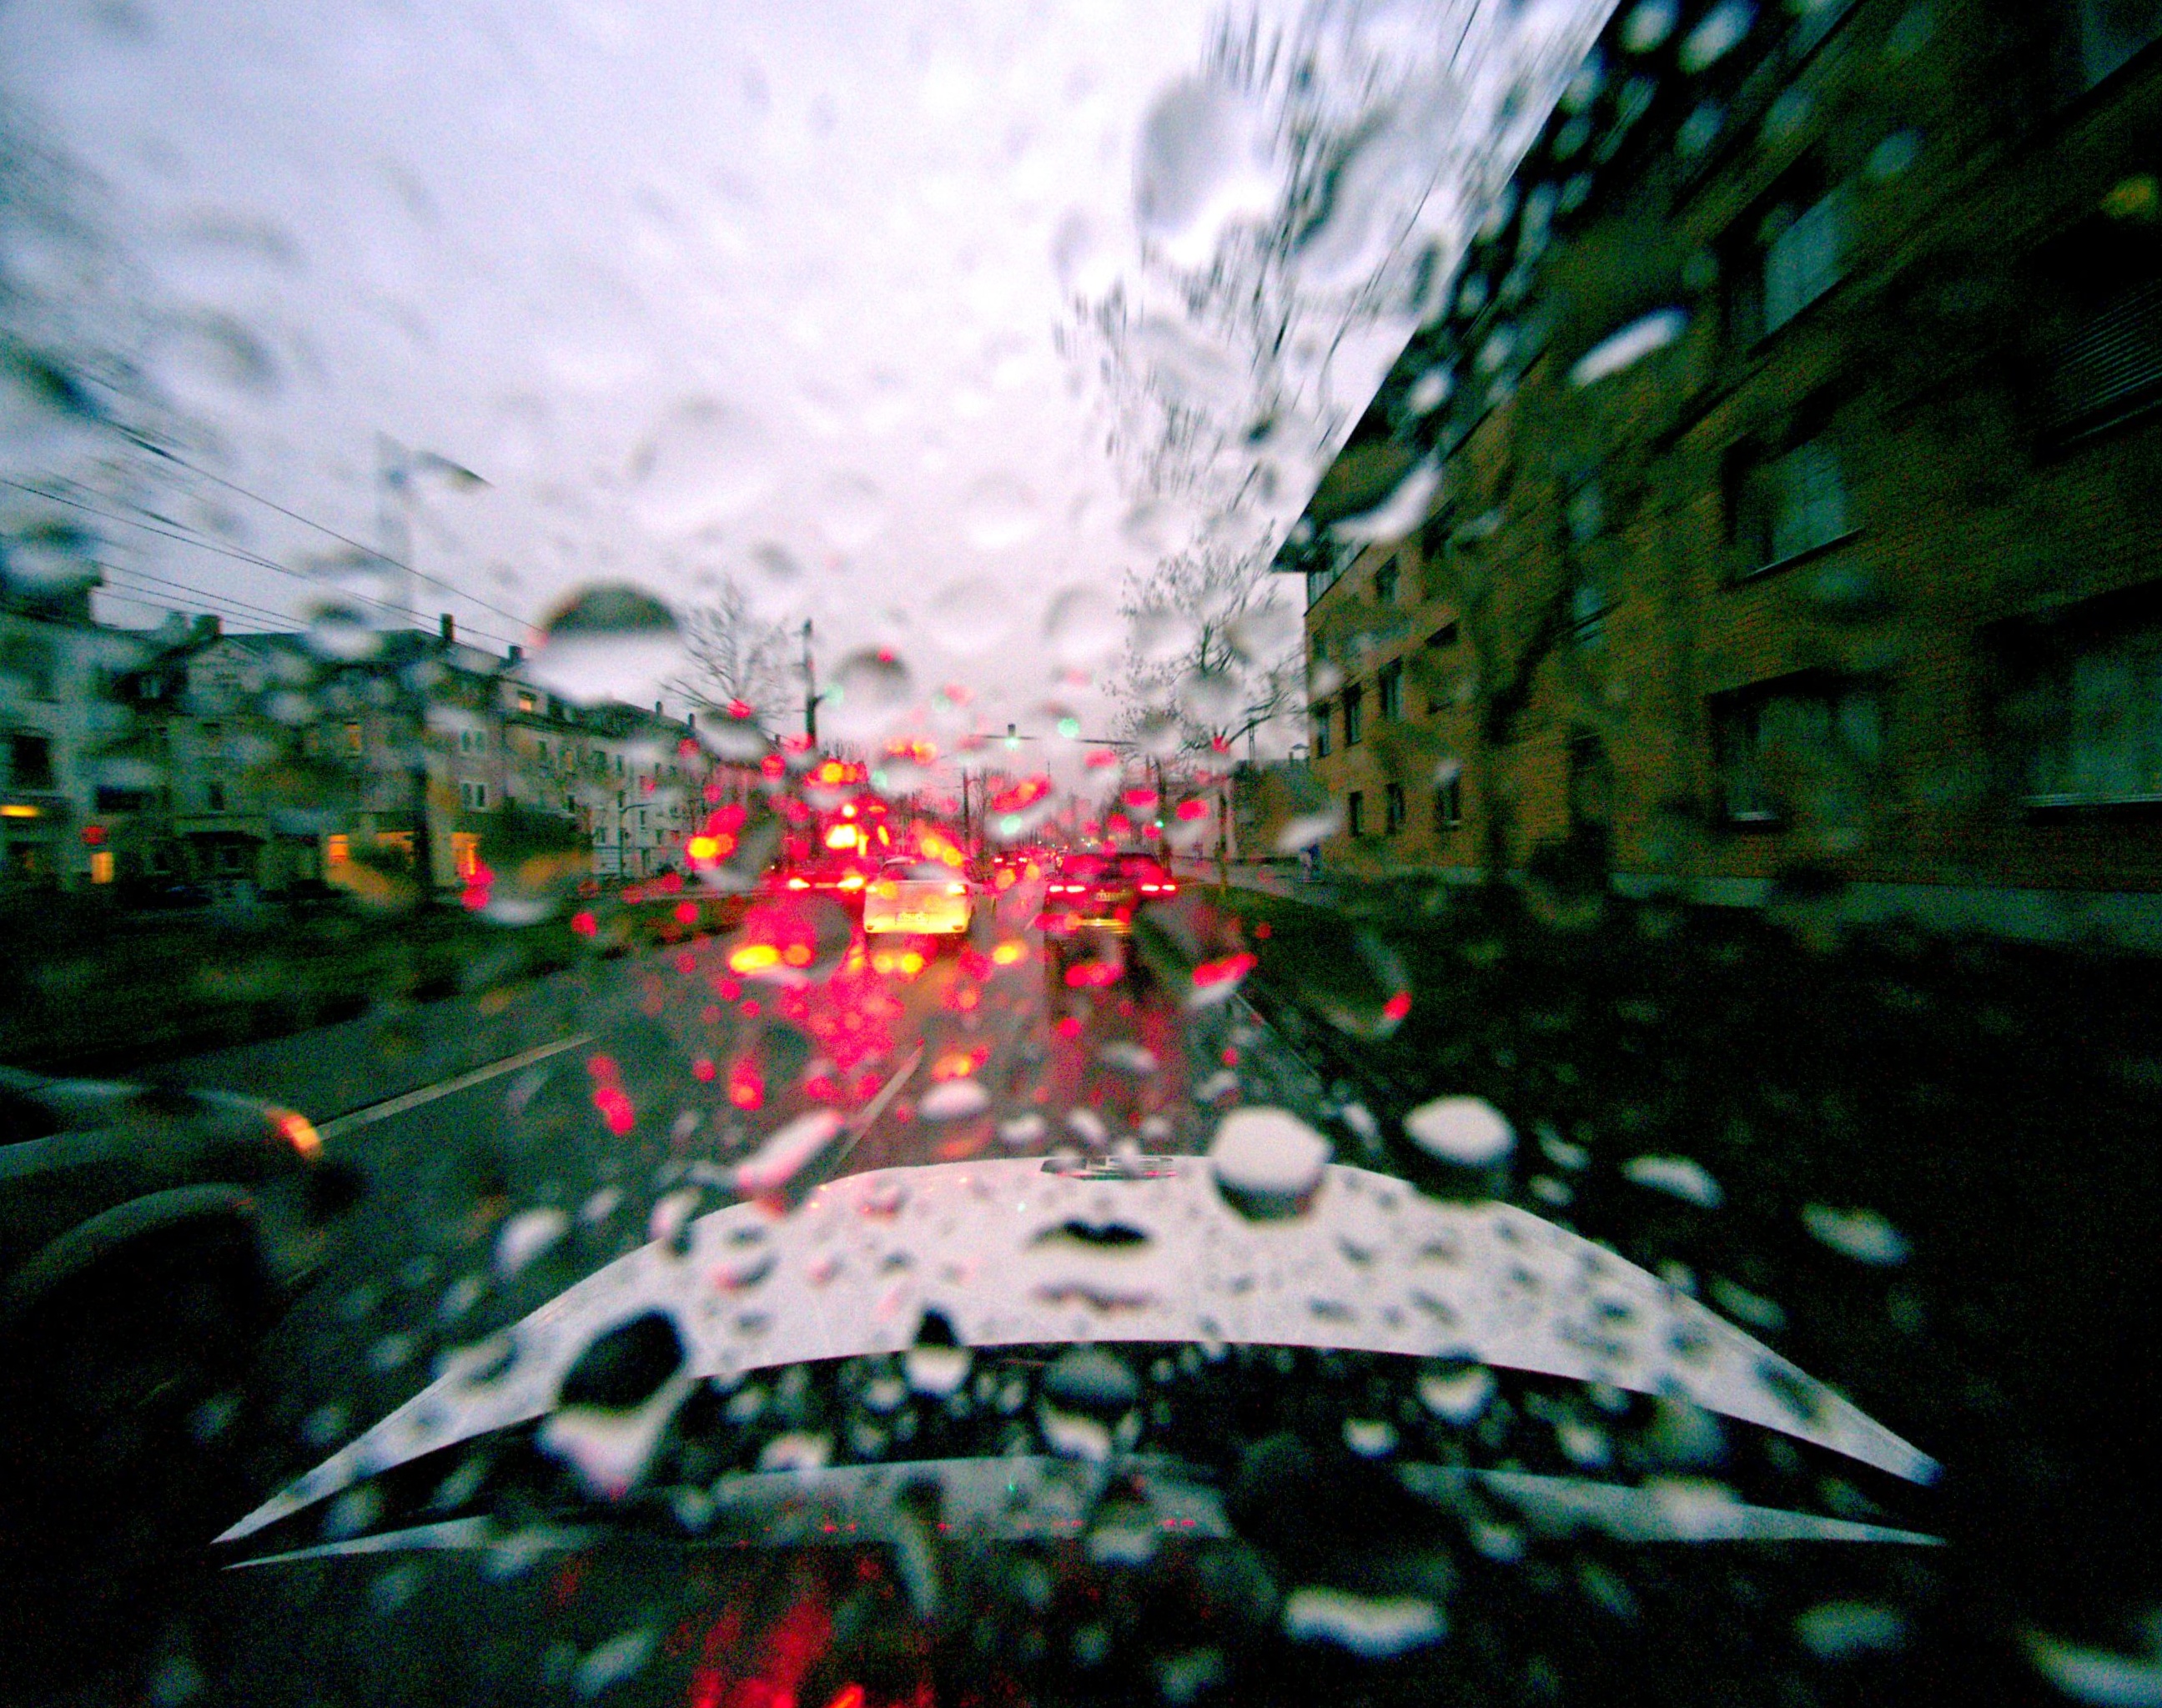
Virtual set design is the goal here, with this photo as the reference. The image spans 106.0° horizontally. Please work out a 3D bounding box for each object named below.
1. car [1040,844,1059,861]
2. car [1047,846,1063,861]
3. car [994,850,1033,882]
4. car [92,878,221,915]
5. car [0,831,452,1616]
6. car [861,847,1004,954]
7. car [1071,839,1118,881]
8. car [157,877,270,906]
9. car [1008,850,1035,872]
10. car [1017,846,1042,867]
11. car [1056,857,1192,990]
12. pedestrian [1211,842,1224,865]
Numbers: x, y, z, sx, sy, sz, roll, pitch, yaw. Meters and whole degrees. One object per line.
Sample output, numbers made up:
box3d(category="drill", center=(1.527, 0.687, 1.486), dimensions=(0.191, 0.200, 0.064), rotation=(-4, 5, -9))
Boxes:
box3d(category="car", center=(-3.741, -0.161, 96.707), dimensions=(1.986, 2.014, 4.002), rotation=(0, 0, 2))
box3d(category="car", center=(-3.705, -0.034, 115.799), dimensions=(1.986, 2.014, 4.002), rotation=(0, 0, 2))
box3d(category="car", center=(-3.587, 0.624, 44.031), dimensions=(1.666, 1.600, 4.054), rotation=(-1, 0, 1))
box3d(category="car", center=(-43.794, 2.013, 38.639), dimensions=(3.974, 1.486, 1.794), rotation=(-2, 0, 0))
box3d(category="car", center=(-3.140, 0.775, 0.795), dimensions=(1.802, 1.600, 4.055), rotation=(-1, 0, 1))
box3d(category="car", center=(-2.454, 0.704, 14.425), dimensions=(1.666, 1.600, 4.054), rotation=(-1, 0, 1))
box3d(category="car", center=(0.648, 0.240, 37.478), dimensions=(1.986, 1.743, 4.001), rotation=(-2, 0, 1))
box3d(category="car", center=(-48.976, 2.115, 46.038), dimensions=(3.980, 1.420, 1.997), rotation=(-2, 0, -5))
box3d(category="car", center=(-4.572, 0.527, 63.404), dimensions=(1.666, 1.600, 4.054), rotation=(-1, 0, 1))
box3d(category="car", center=(-4.840, 0.252, 77.287), dimensions=(1.986, 2.014, 4.002), rotation=(0, 0, 2))
box3d(category="car", center=(0.586, 0.879, 12.188), dimensions=(1.666, 1.600, 4.054), rotation=(-1, 0, 1))
box3d(category="pedestrian", center=(9.623, -0.023, 57.482), dimensions=(0.619, 1.610, 1.066), rotation=(-2, 0, -3))
